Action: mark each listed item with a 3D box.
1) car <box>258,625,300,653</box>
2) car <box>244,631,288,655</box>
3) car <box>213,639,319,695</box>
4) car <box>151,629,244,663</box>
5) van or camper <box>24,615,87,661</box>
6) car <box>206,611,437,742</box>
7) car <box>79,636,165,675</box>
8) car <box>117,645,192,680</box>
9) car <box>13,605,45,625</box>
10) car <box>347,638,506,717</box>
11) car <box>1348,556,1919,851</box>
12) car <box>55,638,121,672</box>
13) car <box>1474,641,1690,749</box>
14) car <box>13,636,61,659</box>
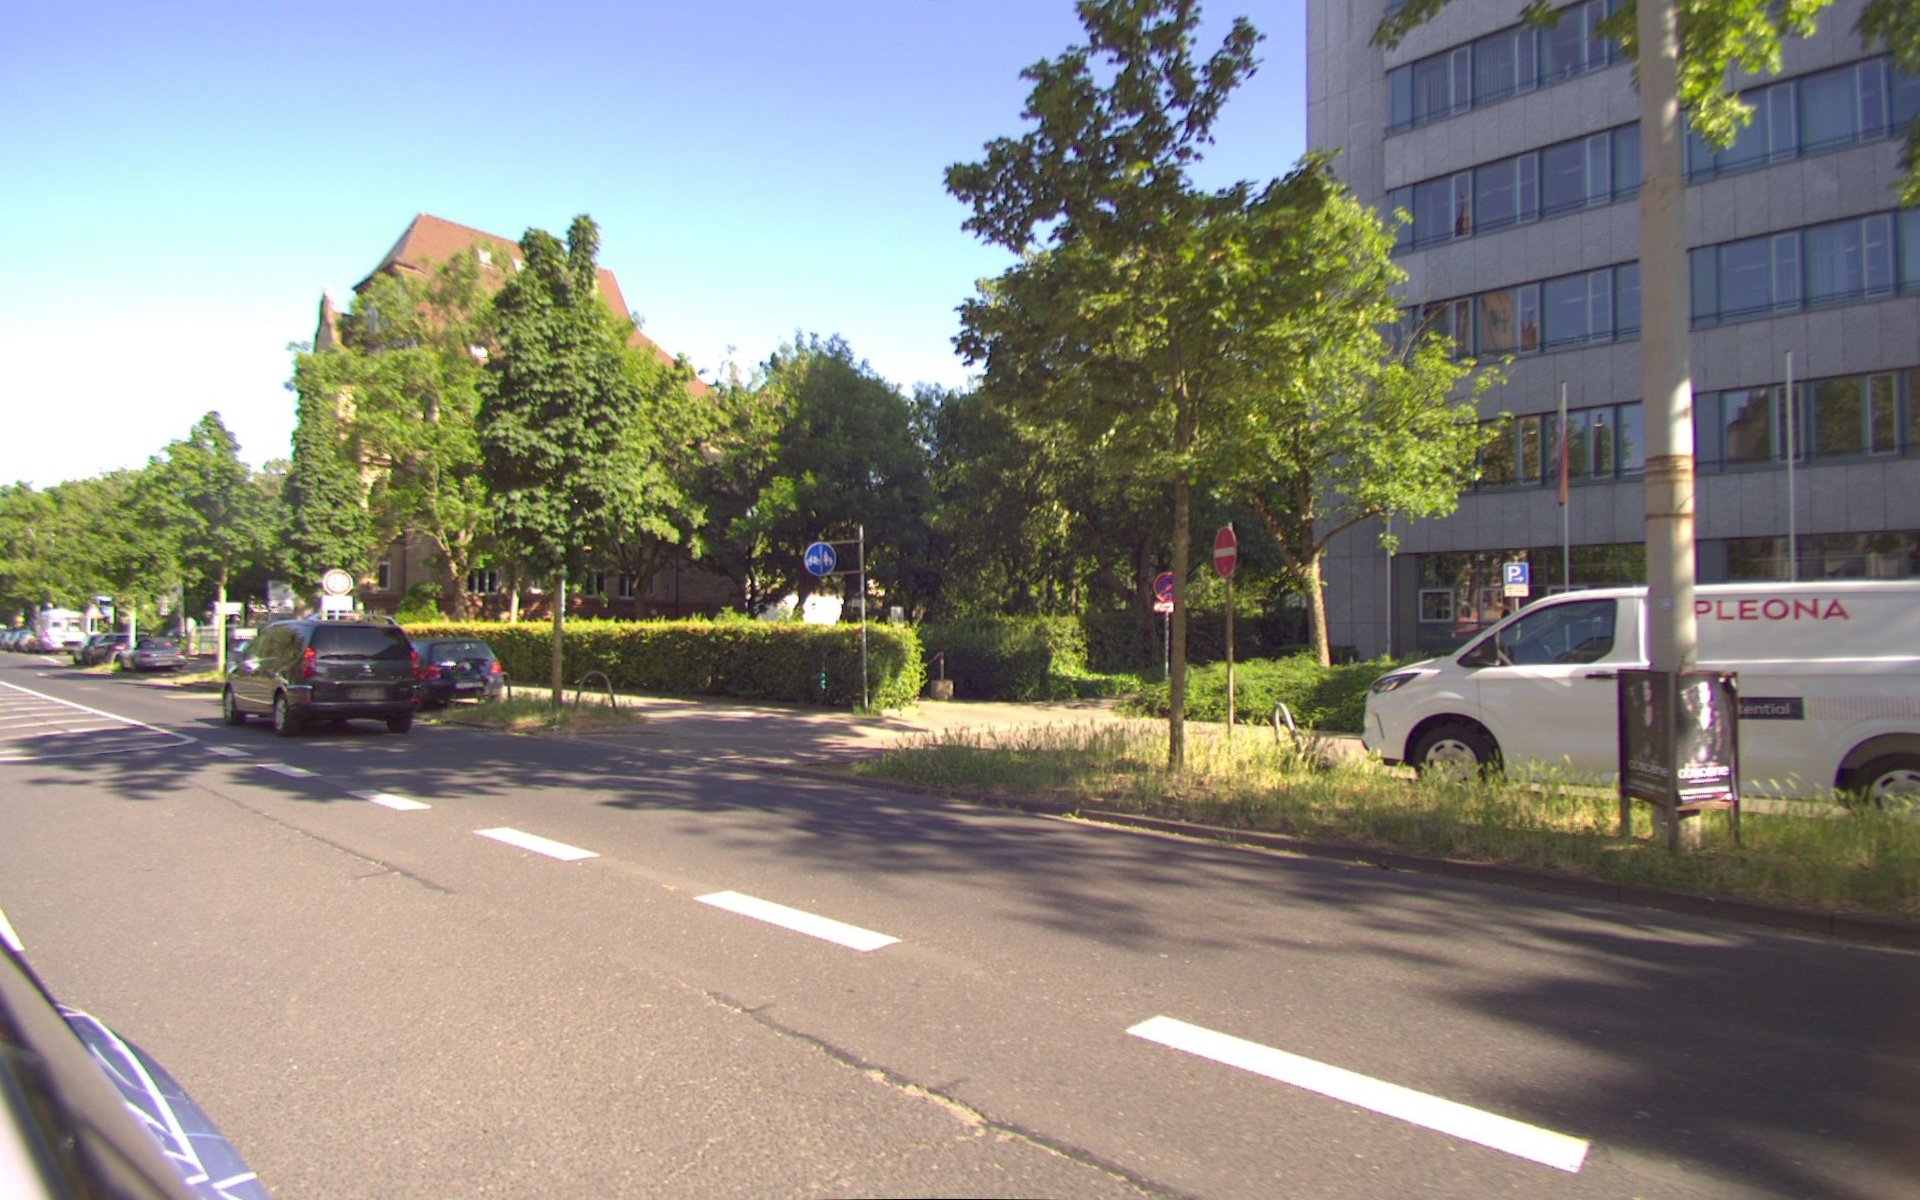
[{"bbox_3d":[-50.774,2.906,75.544,1.833,1.928,4.466,3,-2,-24],"label":"car"},{"bbox_3d":[-48.604,3.009,70.928,1.833,1.524,3.541,3,-2,-24],"label":"car"},{"bbox_3d":[-19.671,1.848,28.621,4.192,1.394,1.669,-2,-1,44],"label":"car"},{"bbox_3d":[-44.579,2.661,59.291,1.977,1.683,4.134,-3,0,8],"label":"car"},{"bbox_3d":[-56.399,2.370,63.067,6.085,2.760,2.193,-2,-3,41],"label":"van or camper"},{"bbox_3d":[-10.445,1.192,16.418,4.607,1.839,1.836,-2,-5,41],"label":"car"},{"bbox_3d":[-36.768,2.404,44.364,4.697,1.505,1.839,-2,0,37],"label":"car"},{"bbox_3d":[-31.295,2.383,39.280,4.014,1.265,1.660,-2,-2,42],"label":"car"},{"bbox_3d":[-74.350,1.191,80.798,3.957,1.513,1.448,-1,-4,42],"label":"car"},{"bbox_3d":[-11.176,1.541,21.089,4.072,1.470,1.693,-2,-2,43],"label":"car"},{"bbox_3d":[6.359,0.829,8.862,5.191,2.092,1.961,-2,-5,39],"label":"car"},{"bbox_3d":[-41.849,2.597,48.530,4.719,1.438,1.836,-2,1,42],"label":"car"},{"bbox_3d":[10.615,1.483,17.121,4.615,1.524,2.010,1,-3,-44],"label":"car"},{"bbox_3d":[-60.766,3.142,66.634,4.660,1.468,1.676,-2,-5,40],"label":"car"}]
